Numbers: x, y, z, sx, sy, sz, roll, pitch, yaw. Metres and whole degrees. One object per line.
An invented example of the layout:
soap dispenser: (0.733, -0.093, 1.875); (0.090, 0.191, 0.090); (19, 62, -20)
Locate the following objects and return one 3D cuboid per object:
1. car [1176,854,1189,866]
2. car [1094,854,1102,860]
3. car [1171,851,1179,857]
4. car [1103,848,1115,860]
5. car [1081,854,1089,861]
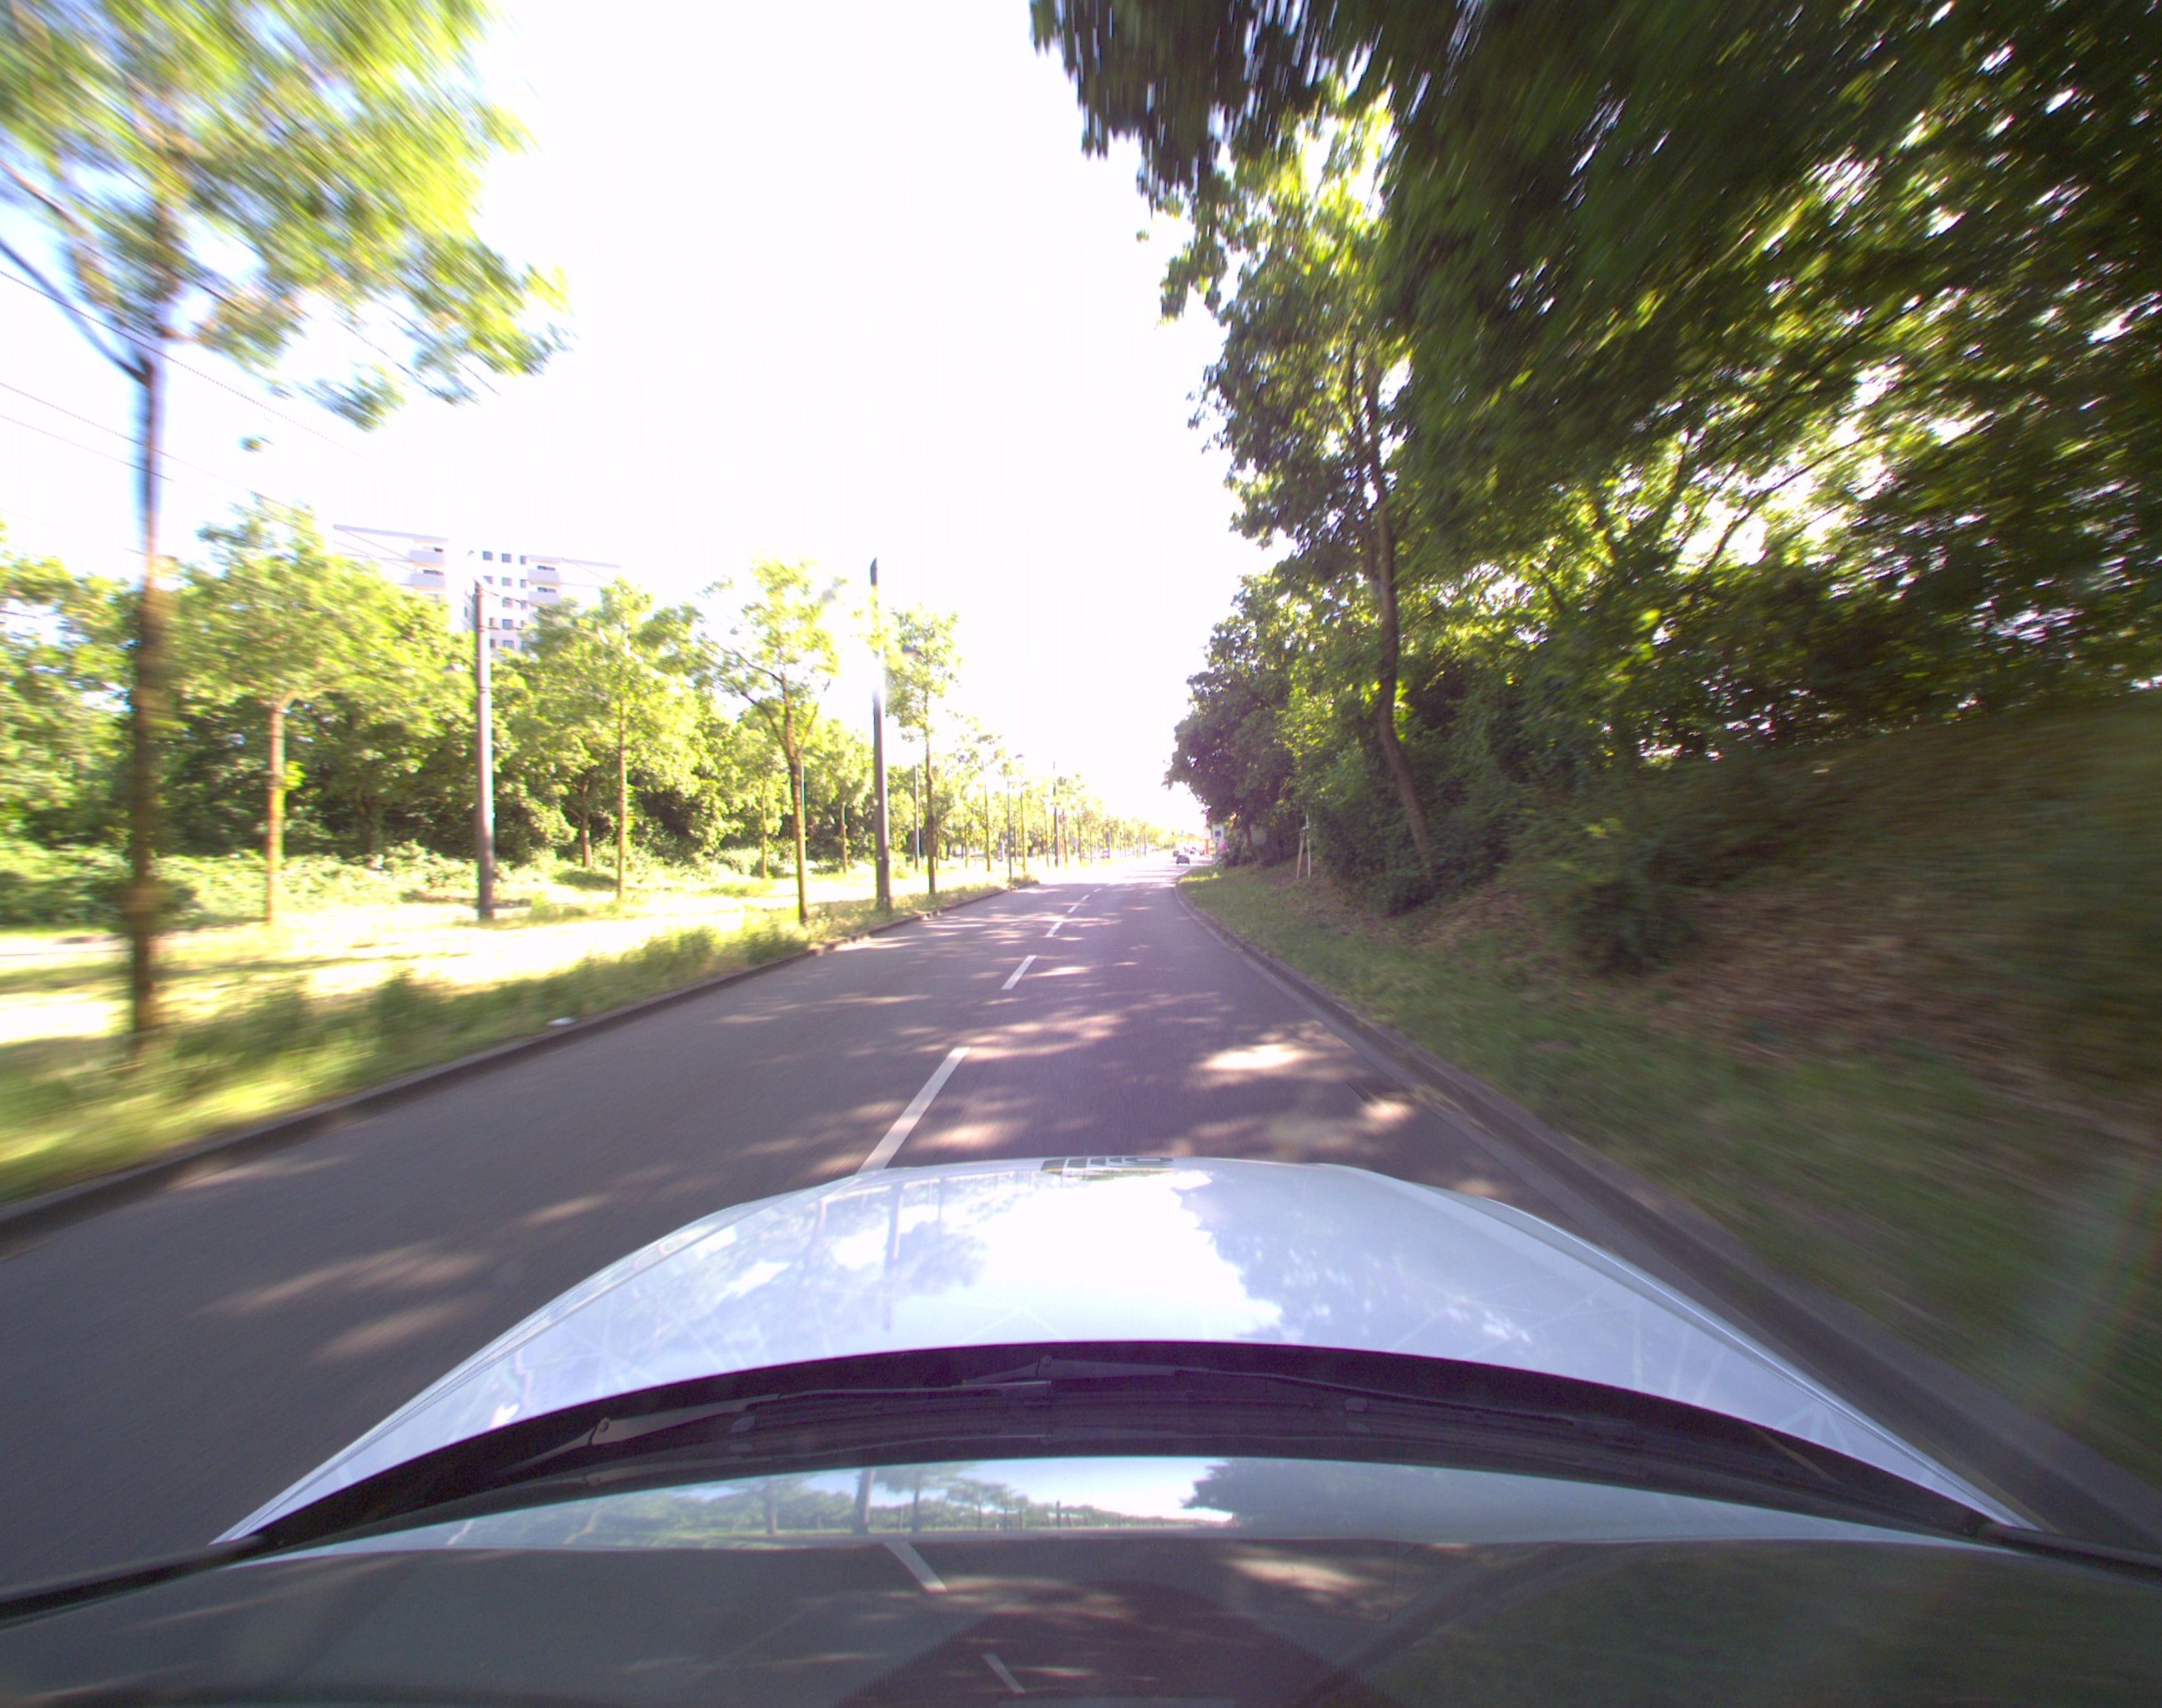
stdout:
car: (13.449, 0.835, 107.614); (1.624, 1.498, 4.245); (-1, 0, 9)
car: (4.608, 0.809, 220.480); (1.622, 1.680, 4.200); (-1, 0, 7)
car: (22.810, 0.045, 197.238); (1.624, 1.498, 4.245); (-1, 0, 9)
car: (7.344, -0.007, 211.598); (2.452, 3.240, 6.146); (-1, -1, 7)
car: (1.032, 0.933, 201.510); (1.622, 1.680, 4.200); (-1, 0, 7)
